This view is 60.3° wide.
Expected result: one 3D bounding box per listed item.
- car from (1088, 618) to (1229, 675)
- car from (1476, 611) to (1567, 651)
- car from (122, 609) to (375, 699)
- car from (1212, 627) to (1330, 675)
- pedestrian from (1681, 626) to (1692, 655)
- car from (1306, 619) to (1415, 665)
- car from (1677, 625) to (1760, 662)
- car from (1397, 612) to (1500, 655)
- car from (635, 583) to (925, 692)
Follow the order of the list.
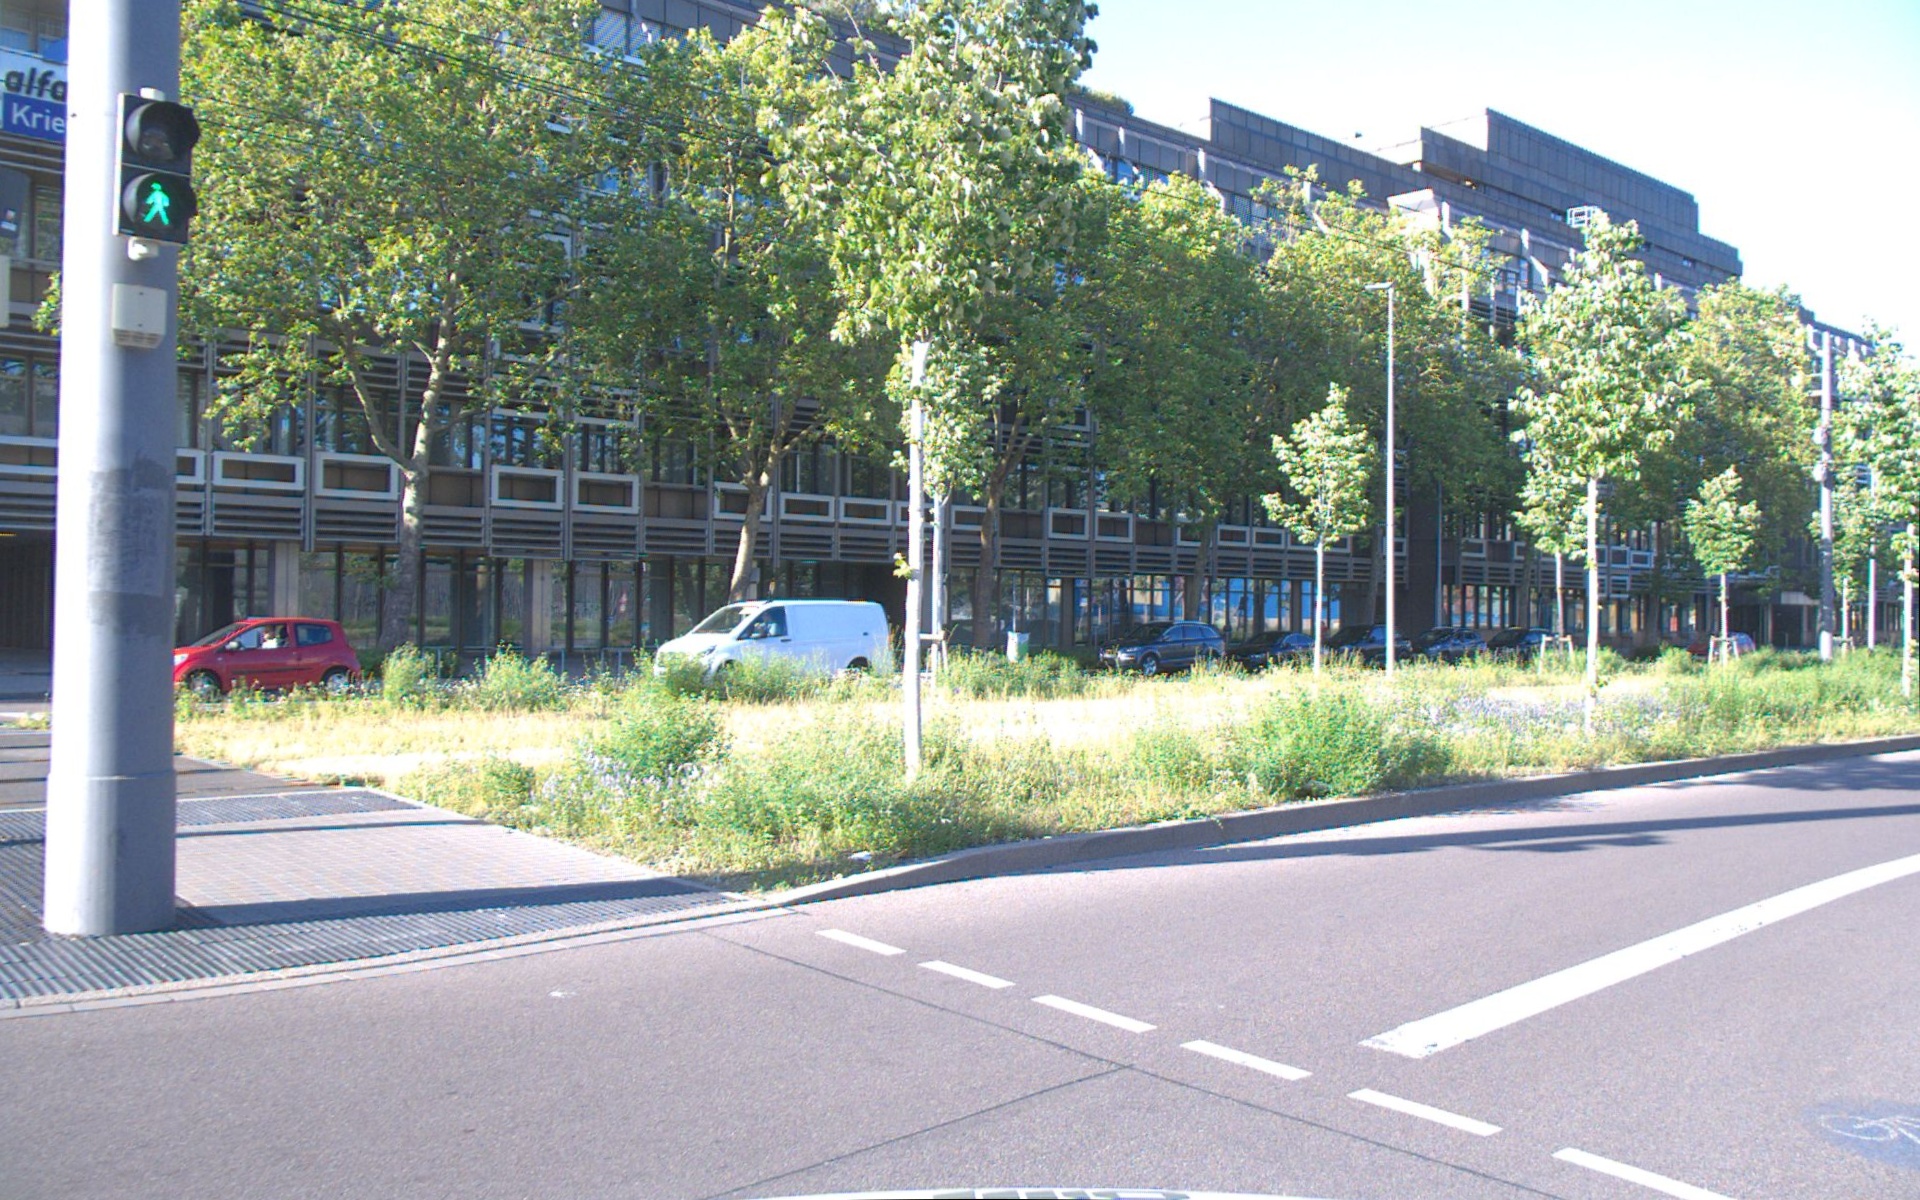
[{"bbox_3d":[6.473,1.480,53.565,1.967,1.709,4.833,2,0,45],"label":"car"},{"bbox_3d":[23.534,1.299,69.248,4.241,1.624,1.838,1,-2,-42],"label":"car"},{"bbox_3d":[-12.803,0.962,29.857,3.847,1.512,1.818,0,-3,-42],"label":"car"},{"bbox_3d":[10.782,1.741,57.256,3.961,1.547,1.972,1,0,-40],"label":"car"},{"bbox_3d":[39.851,2.211,90.714,0.443,1.589,0.404,1,-1,-42],"label":"pedestrian"},{"bbox_3d":[14.828,1.531,61.080,4.587,1.584,1.721,1,1,-44],"label":"car"},{"bbox_3d":[31.998,1.845,69.752,3.538,1.479,1.693,1,-3,-38],"label":"car"},{"bbox_3d":[19.456,1.328,65.755,4.322,1.661,1.888,1,-2,-41],"label":"car"},{"bbox_3d":[-3.591,0.763,33.750,5.656,2.049,2.233,1,-2,-41],"label":"car"}]
